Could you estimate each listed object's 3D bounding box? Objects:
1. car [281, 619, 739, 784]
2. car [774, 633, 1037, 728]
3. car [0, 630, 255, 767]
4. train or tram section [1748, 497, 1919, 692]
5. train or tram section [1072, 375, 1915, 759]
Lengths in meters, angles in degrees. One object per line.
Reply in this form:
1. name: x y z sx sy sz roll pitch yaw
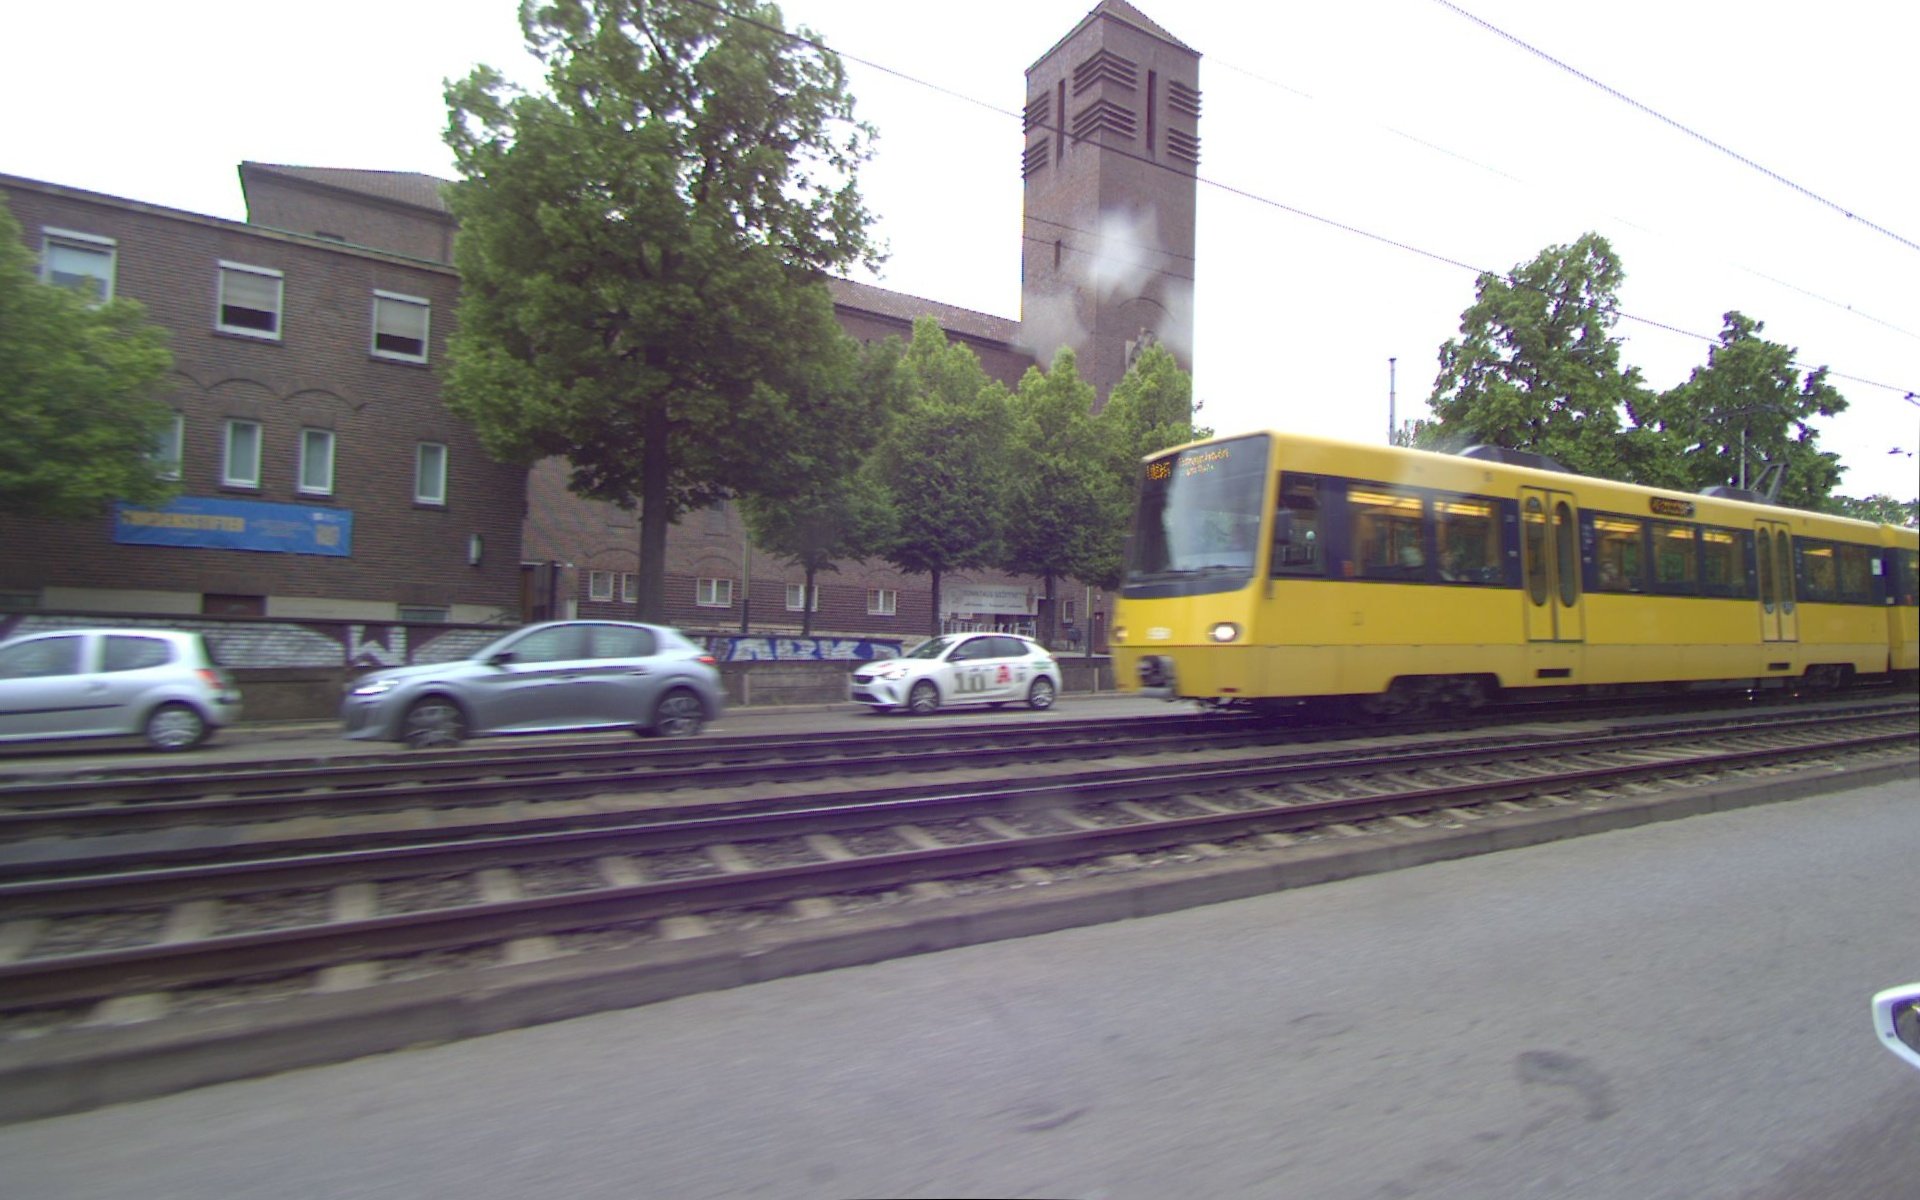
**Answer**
1. car: -4.951 0.998 11.391 4.455 1.552 1.777 1 -1 -32
2. car: -0.917 1.364 17.899 4.429 1.487 1.679 1 -3 -32
3. car: -10.768 1.137 11.807 3.942 1.486 1.738 1 -4 -33
4. train or tram section: 26.331 0.039 26.833 17.685 4.028 2.812 1 -1 -33
5. train or tram section: 10.613 -0.196 16.891 19.798 4.028 2.814 1 -1 -31
